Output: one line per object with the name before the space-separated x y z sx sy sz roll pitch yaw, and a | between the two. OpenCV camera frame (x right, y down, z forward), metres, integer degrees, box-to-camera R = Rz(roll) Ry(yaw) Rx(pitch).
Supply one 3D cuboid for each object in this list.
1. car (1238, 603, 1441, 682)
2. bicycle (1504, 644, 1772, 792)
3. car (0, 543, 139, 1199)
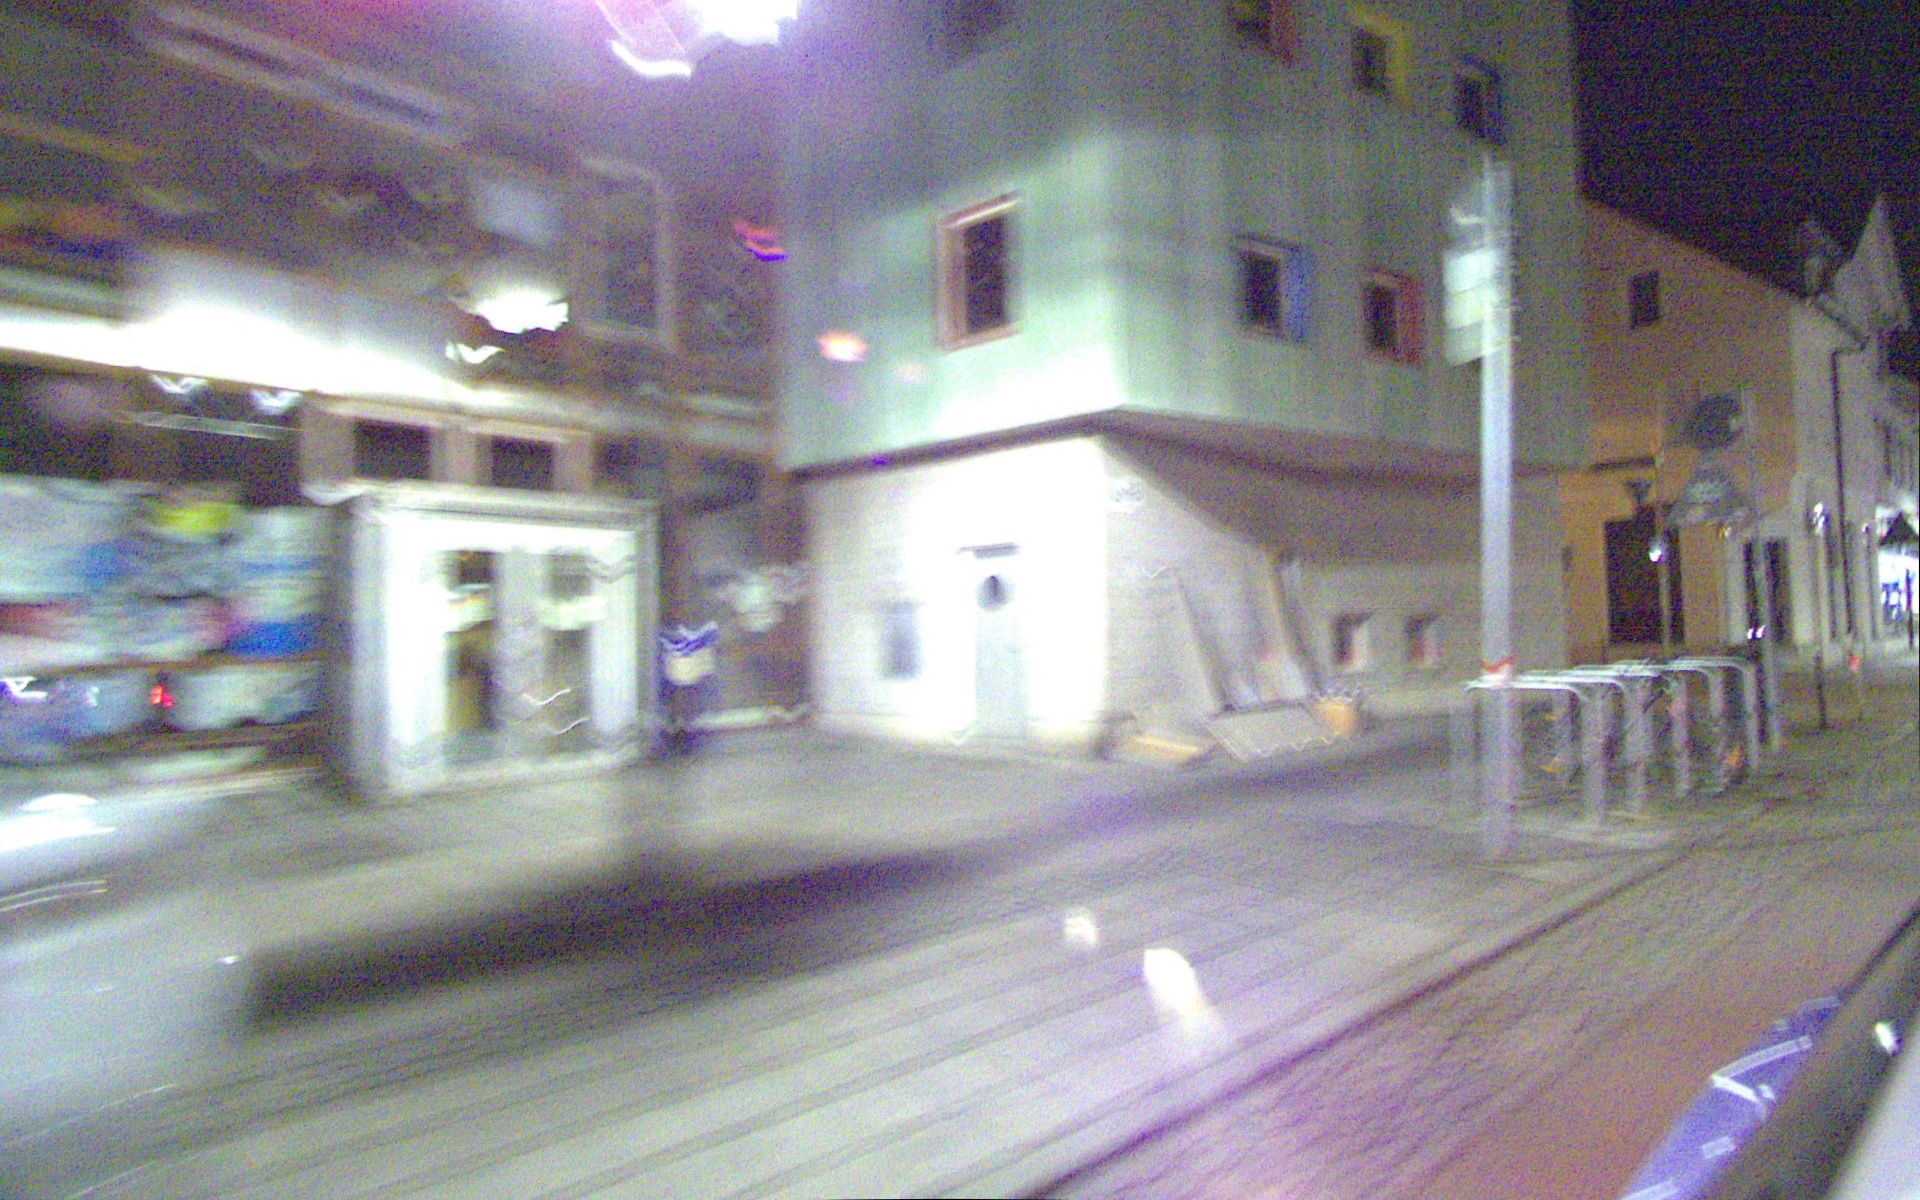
car | 7.843 0.807 21.126 1.695 1.460 3.621 0 1 -40
bicycle | 5.447 0.904 8.242 0.340 1.076 1.756 0 -2 -42
car | -3.290 0.692 0.880 3.986 1.510 1.793 0 -1 -40
